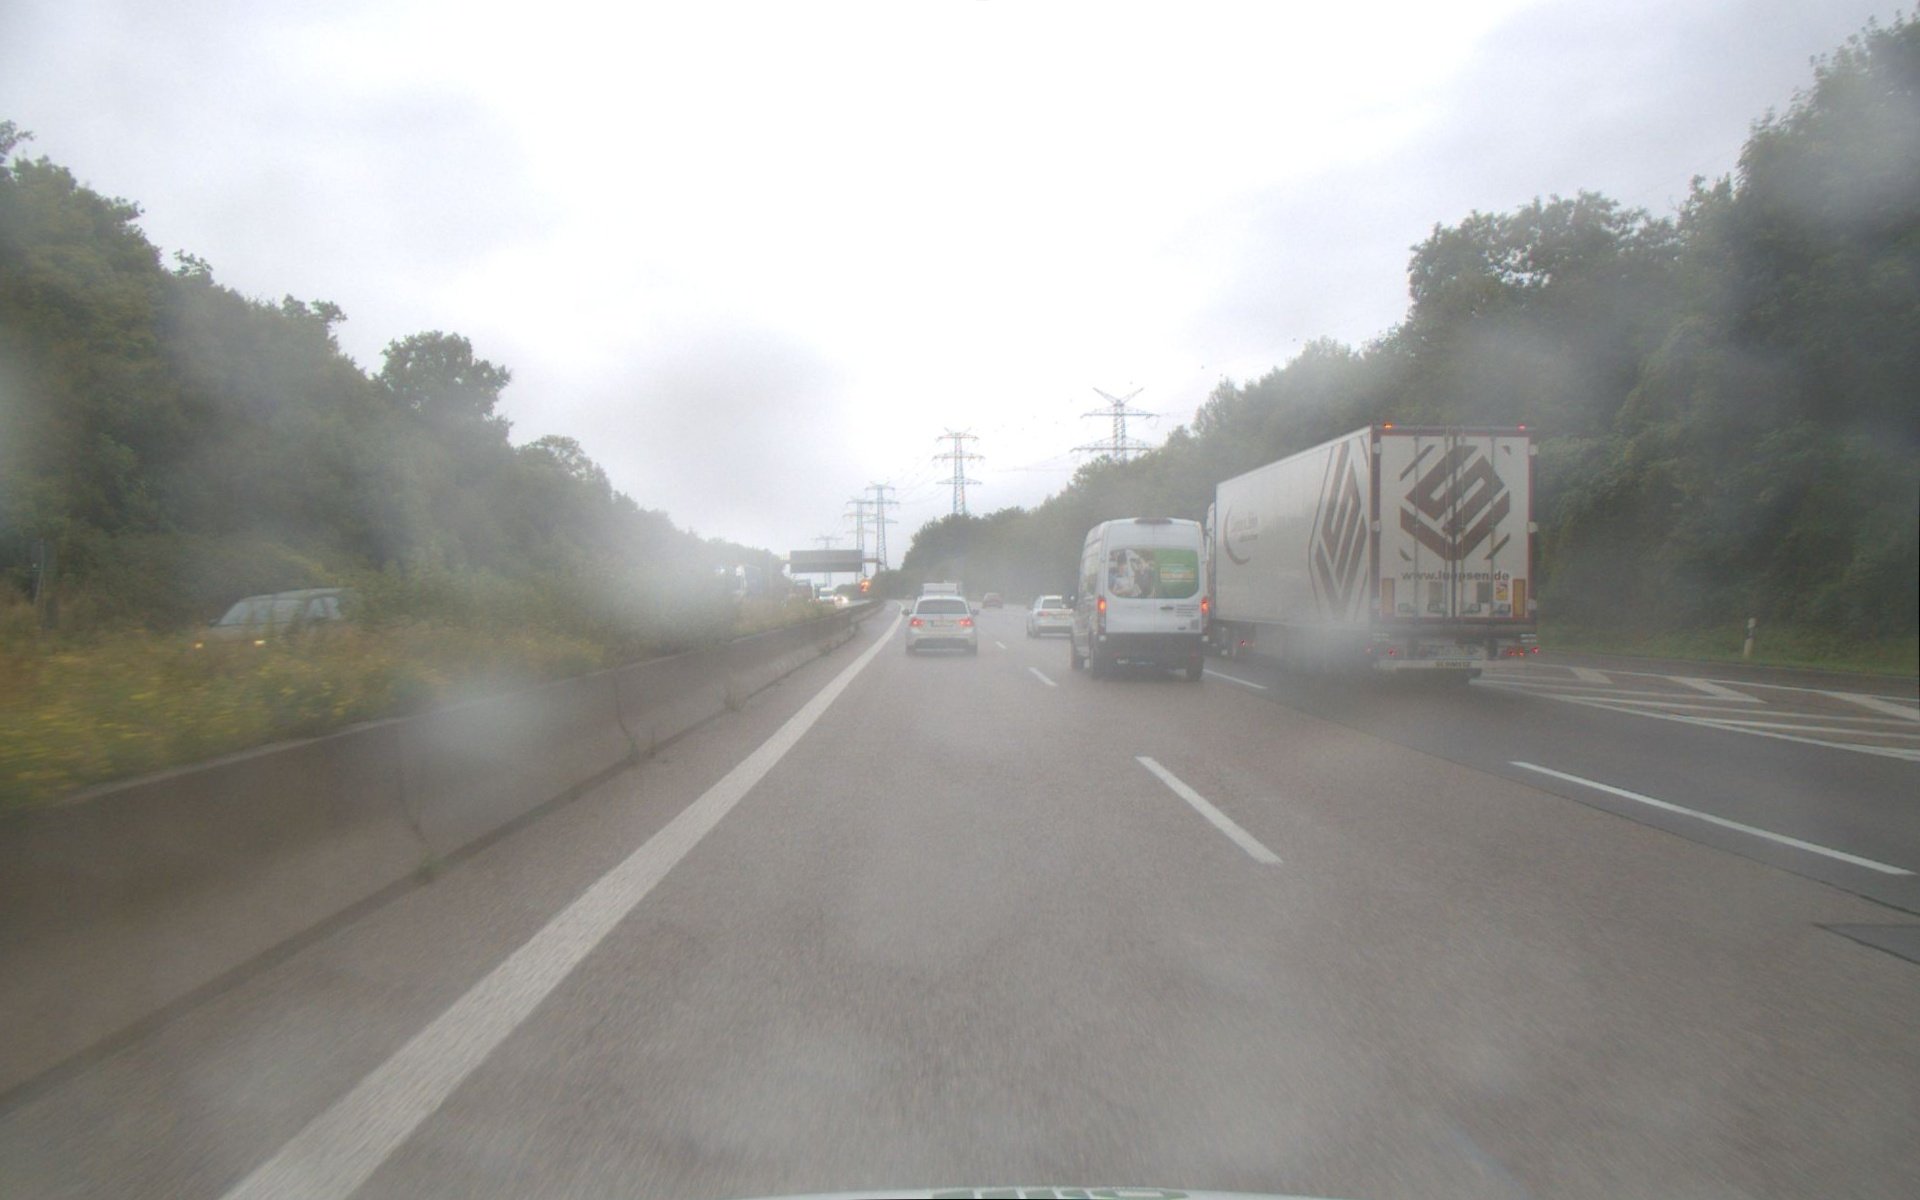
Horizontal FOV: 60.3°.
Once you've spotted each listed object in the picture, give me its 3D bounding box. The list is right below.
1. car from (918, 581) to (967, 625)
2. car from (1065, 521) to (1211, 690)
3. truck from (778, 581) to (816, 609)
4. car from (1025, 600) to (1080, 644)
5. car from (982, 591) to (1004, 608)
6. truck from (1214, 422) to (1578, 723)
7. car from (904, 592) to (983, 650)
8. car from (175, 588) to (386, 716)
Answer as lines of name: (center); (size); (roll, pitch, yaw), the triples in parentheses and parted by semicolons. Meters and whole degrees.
car: (-0.717, 0.107, 70.511); (1.807, 1.803, 4.002); (-1, 0, 3)
car: (3.247, 0.096, 30.897); (1.954, 2.914, 3.996); (-1, 0, -5)
truck: (-22.782, -0.720, 231.740); (3.975, 3.813, 16.863); (-1, 0, -1)
car: (3.188, 0.735, 56.457); (1.818, 1.447, 4.002); (0, 0, 4)
car: (3.100, -0.021, 155.660); (1.952, 1.512, 4.001); (-3, -1, 3)
truck: (7.431, -0.358, 30.975); (3.529, 4.408, 13.200); (-1, 0, 1)
car: (-0.400, 0.493, 40.720); (1.828, 1.310, 3.999); (-1, 0, -1)
car: (-11.826, 0.829, 29.177); (1.954, 2.049, 4.748); (-1, 0, -3)
